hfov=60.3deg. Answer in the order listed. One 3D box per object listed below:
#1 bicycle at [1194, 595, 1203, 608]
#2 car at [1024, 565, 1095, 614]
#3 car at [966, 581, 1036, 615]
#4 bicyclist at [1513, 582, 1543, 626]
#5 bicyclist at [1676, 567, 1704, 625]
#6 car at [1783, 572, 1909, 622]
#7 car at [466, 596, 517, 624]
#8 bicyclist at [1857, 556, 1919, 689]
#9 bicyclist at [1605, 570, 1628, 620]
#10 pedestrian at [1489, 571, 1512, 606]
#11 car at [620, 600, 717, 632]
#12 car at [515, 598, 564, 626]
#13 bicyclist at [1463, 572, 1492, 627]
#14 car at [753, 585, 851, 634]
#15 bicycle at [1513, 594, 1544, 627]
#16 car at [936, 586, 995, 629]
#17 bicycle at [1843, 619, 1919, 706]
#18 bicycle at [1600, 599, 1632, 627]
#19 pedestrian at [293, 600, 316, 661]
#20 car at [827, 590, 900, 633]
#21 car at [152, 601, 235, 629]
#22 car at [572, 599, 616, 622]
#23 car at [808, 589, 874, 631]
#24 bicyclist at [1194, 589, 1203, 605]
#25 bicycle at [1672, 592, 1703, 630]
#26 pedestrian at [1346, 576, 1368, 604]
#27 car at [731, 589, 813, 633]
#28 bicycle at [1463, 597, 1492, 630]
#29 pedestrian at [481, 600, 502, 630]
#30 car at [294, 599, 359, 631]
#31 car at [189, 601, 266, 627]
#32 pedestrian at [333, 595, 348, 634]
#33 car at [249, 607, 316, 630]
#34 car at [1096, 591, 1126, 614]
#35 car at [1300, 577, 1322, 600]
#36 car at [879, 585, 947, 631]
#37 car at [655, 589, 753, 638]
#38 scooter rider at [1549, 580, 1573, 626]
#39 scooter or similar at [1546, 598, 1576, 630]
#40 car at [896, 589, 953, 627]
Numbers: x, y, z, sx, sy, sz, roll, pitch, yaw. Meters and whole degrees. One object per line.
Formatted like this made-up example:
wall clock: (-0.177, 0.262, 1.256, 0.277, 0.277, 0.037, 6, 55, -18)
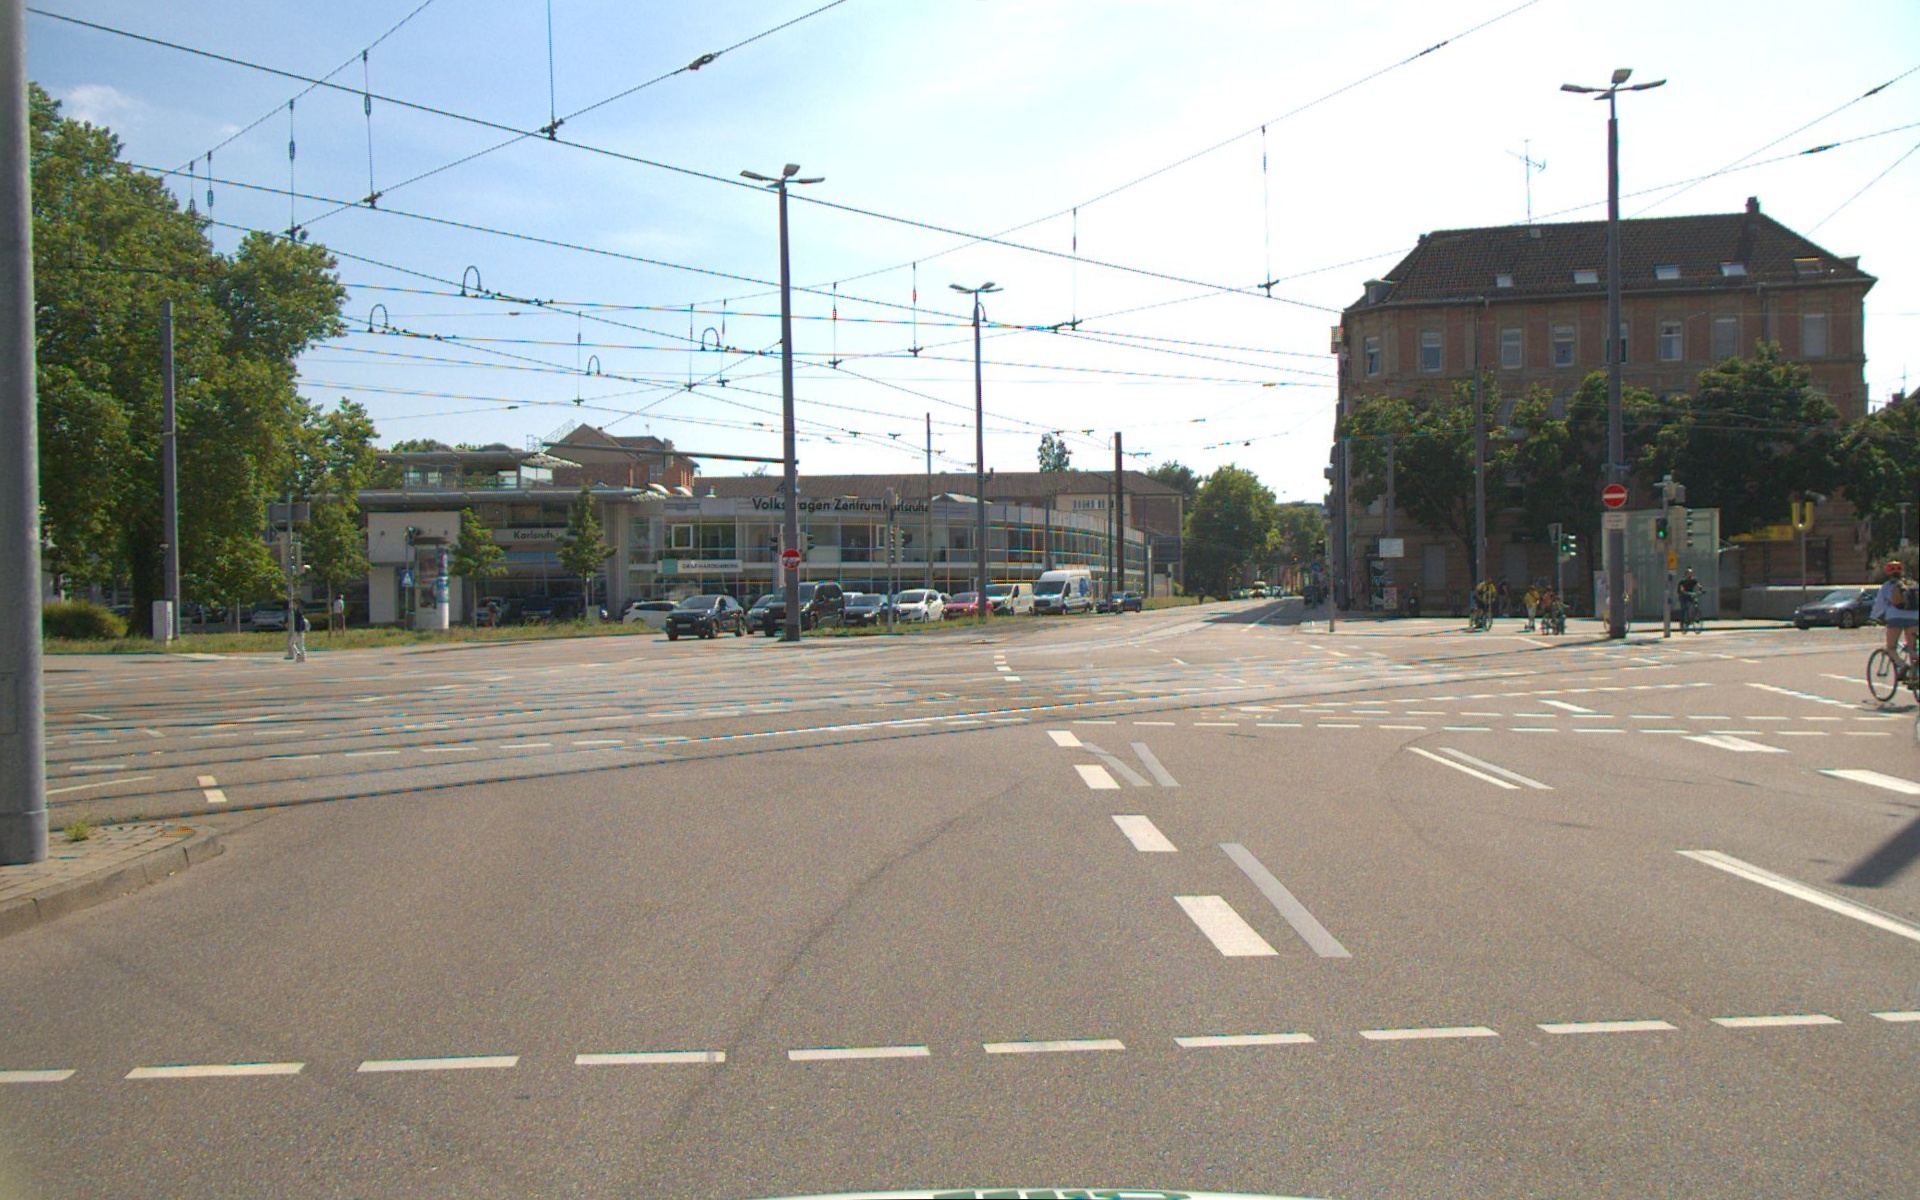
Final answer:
bicycle: (23.894, 0.146, 165.707, 0.736, 1.215, 2.841, 1, -1, 12)
car: (5.713, -0.557, 94.113, 2.164, 2.620, 5.872, 1, -1, 24)
car: (2.198, -0.100, 86.746, 2.140, 1.710, 5.030, -1, 0, 20)
bicyclist: (19.434, 0.138, 56.596, 0.907, 1.477, 1.252, 1, 0, 17)
bicyclist: (20.918, -0.112, 47.418, 0.653, 1.652, 0.783, 1, 0, 20)
car: (29.900, -0.101, 55.822, 3.932, 1.611, 1.627, -1, 0, -22)
car: (-26.502, 0.565, 93.602, 1.954, 1.512, 3.997, -1, 0, -4)
bicyclist: (12.463, 0.288, 21.865, 0.699, 1.698, 0.875, -3, 0, 6)
bicyclist: (21.726, -0.168, 54.730, 0.490, 1.649, 0.650, 1, 0, 3)
pedestrian: (22.868, -0.465, 69.932, 0.608, 1.458, 0.702, 2, -1, -40)
car: (-14.303, 0.789, 81.200, 4.486, 1.461, 1.445, 1, -1, 12)
car: (-23.776, 0.660, 93.683, 1.954, 1.512, 3.997, 1, 0, -4)
bicyclist: (17.787, -0.002, 56.833, 0.907, 1.852, 1.052, 1, -1, 19)
car: (-5.543, 0.309, 58.642, 1.919, 1.615, 4.720, -1, 0, 15)
bicycle: (19.428, 0.336, 56.554, 0.907, 1.088, 2.843, 1, 1, 17)
car: (0.301, 0.386, 79.628, 1.854, 1.950, 4.203, -1, -1, 15)
bicycle: (12.497, 0.803, 21.870, 0.699, 1.033, 2.022, -3, 0, 6)
bicycle: (21.713, 0.419, 54.762, 0.490, 0.881, 1.588, 1, 0, 3)
pedestrian: (-17.814, 0.824, 44.925, 0.450, 1.633, 0.395, 2, -1, -38)
car: (-3.763, 0.481, 65.266, 1.854, 1.615, 4.003, -1, -1, 12)
car: (-45.062, 0.861, 97.282, 3.908, 1.579, 1.999, -1, 0, -4)
car: (-20.639, 0.597, 93.422, 1.794, 1.216, 3.997, 1, 0, -3)
car: (-5.151, 0.449, 72.184, 1.616, 1.769, 4.203, -1, -1, 15)
bicyclist: (23.908, -0.263, 165.751, 0.736, 1.595, 1.088, 1, -1, 12)
bicycle: (21.187, 0.304, 48.180, 0.653, 1.088, 2.464, 1, 1, 20)
pedestrian: (20.551, -0.526, 85.643, 0.706, 1.458, 0.874, -1, 0, -39)
car: (-7.298, 0.447, 64.579, 1.854, 1.615, 4.003, -1, -1, 15)
bicycle: (17.868, 0.467, 57.107, 0.907, 1.088, 2.747, 1, -1, 18)
pedestrian: (-24.751, 0.795, 87.409, 0.935, 1.608, 0.533, 1, -1, -6)
car: (-36.007, 0.855, 94.052, 1.952, 1.713, 4.001, 1, -1, 3)
car: (-45.534, 0.866, 102.909, 3.908, 1.534, 1.999, -1, 0, -4)
pedestrian: (-26.509, 0.624, 70.764, 0.384, 1.624, 0.464, 1, -1, 21)
car: (-38.306, 1.029, 93.562, 1.952, 1.266, 4.001, 1, 0, 3)
car: (10.040, 0.172, 109.577, 1.355, 1.439, 3.014, 1, -1, 17)
car: (34.246, -1.111, 161.377, 2.063, 2.049, 4.003, 1, -1, 12)
car: (-2.028, 0.365, 72.633, 1.854, 1.950, 4.203, -1, -1, 15)
car: (-8.918, 0.490, 57.893, 1.851, 1.615, 4.213, -1, -1, 15)
scooter rider: (19.020, 0.096, 52.364, 0.575, 1.422, 0.406, 1, -1, -3)
scooter or similar: (19.016, 0.448, 52.346, 0.575, 0.993, 0.991, 1, -1, -2)
car: (-1.769, 0.421, 84.110, 1.768, 1.878, 4.203, -1, -1, 15)
